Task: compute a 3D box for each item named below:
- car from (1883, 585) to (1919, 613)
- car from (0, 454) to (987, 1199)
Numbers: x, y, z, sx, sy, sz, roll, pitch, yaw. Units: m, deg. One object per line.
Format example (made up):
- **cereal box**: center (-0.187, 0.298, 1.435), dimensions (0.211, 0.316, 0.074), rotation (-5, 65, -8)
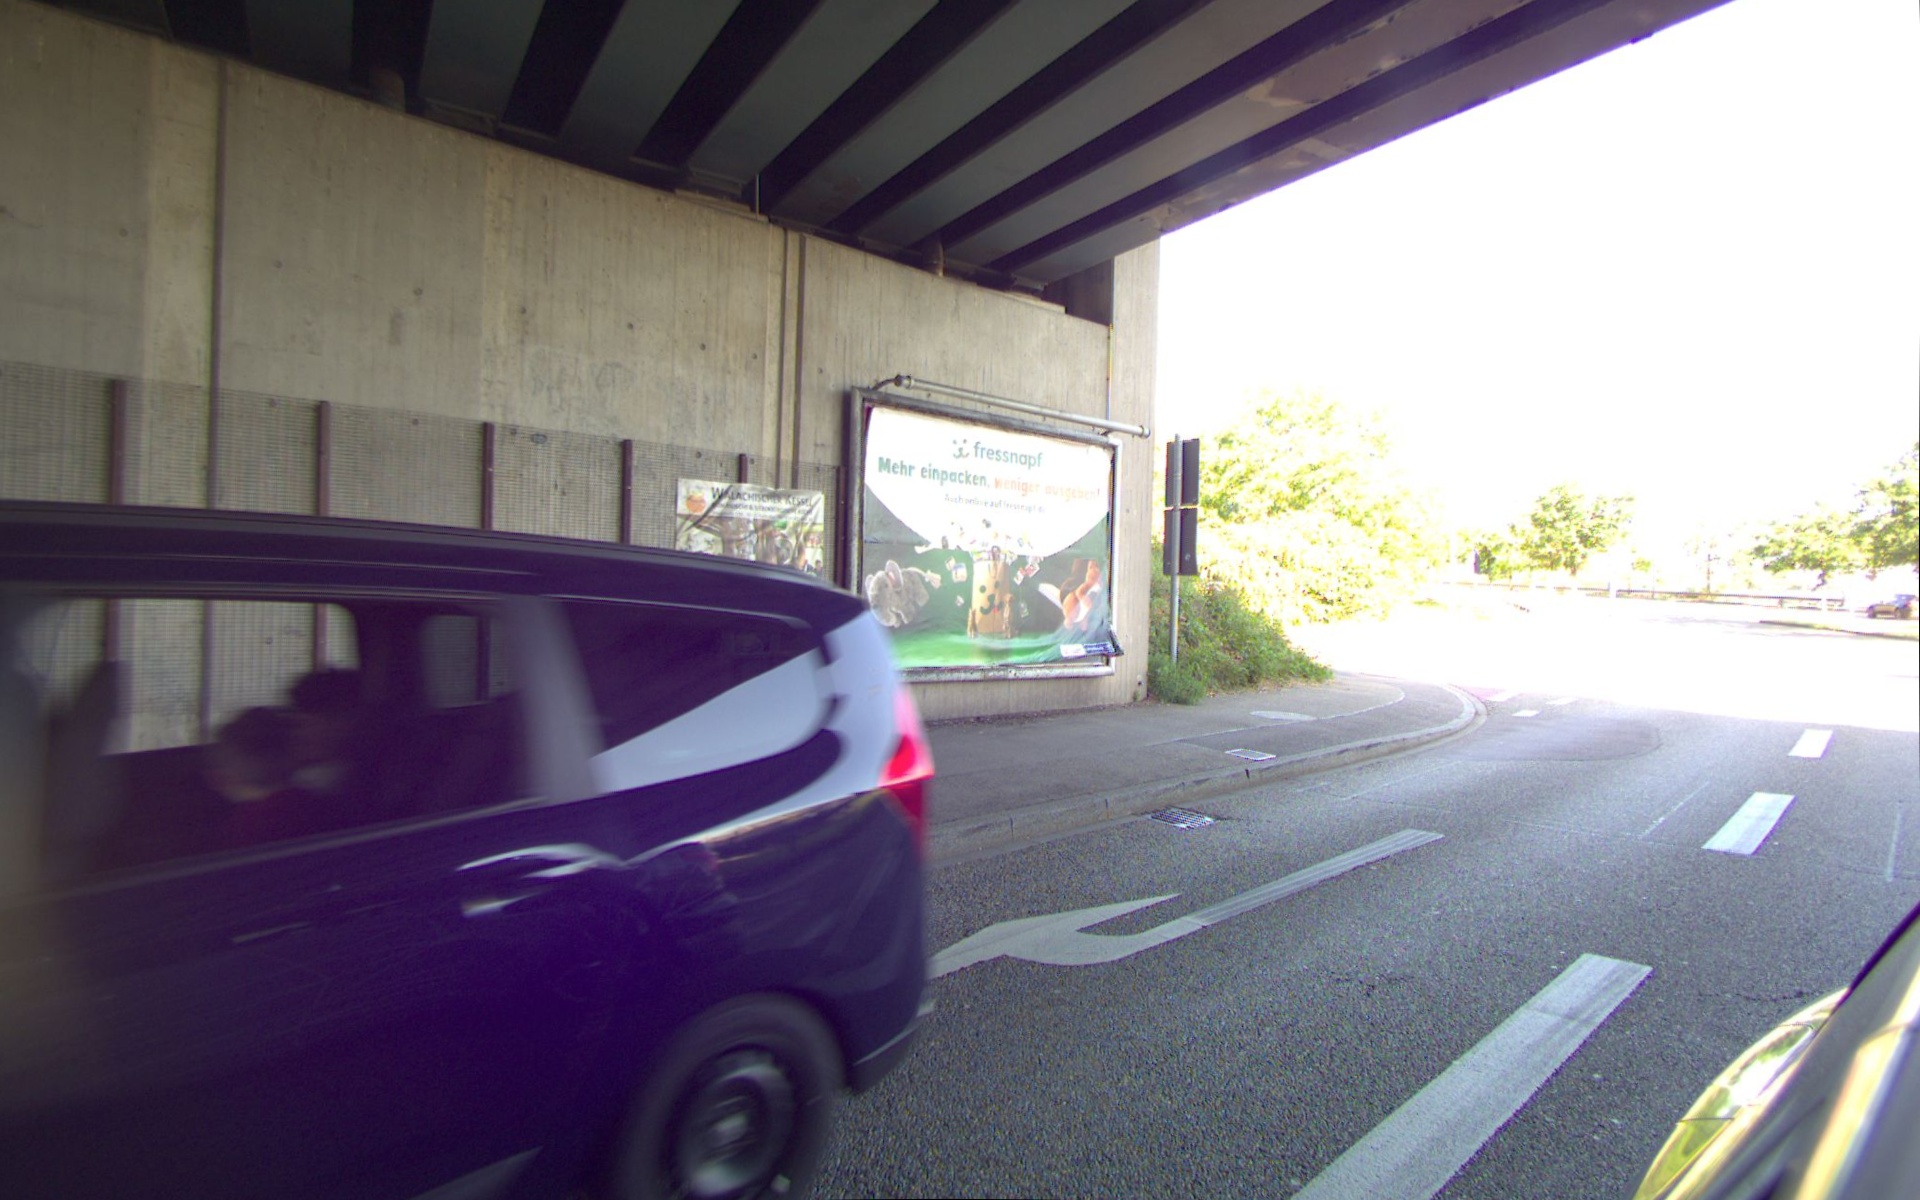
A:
- **car**: center (57.000, -0.088, 59.859), dimensions (1.832, 1.637, 4.341), rotation (0, 0, 17)
- **car**: center (-1.995, 0.613, 1.951), dimensions (4.037, 1.621, 1.776), rotation (-1, 0, -44)
